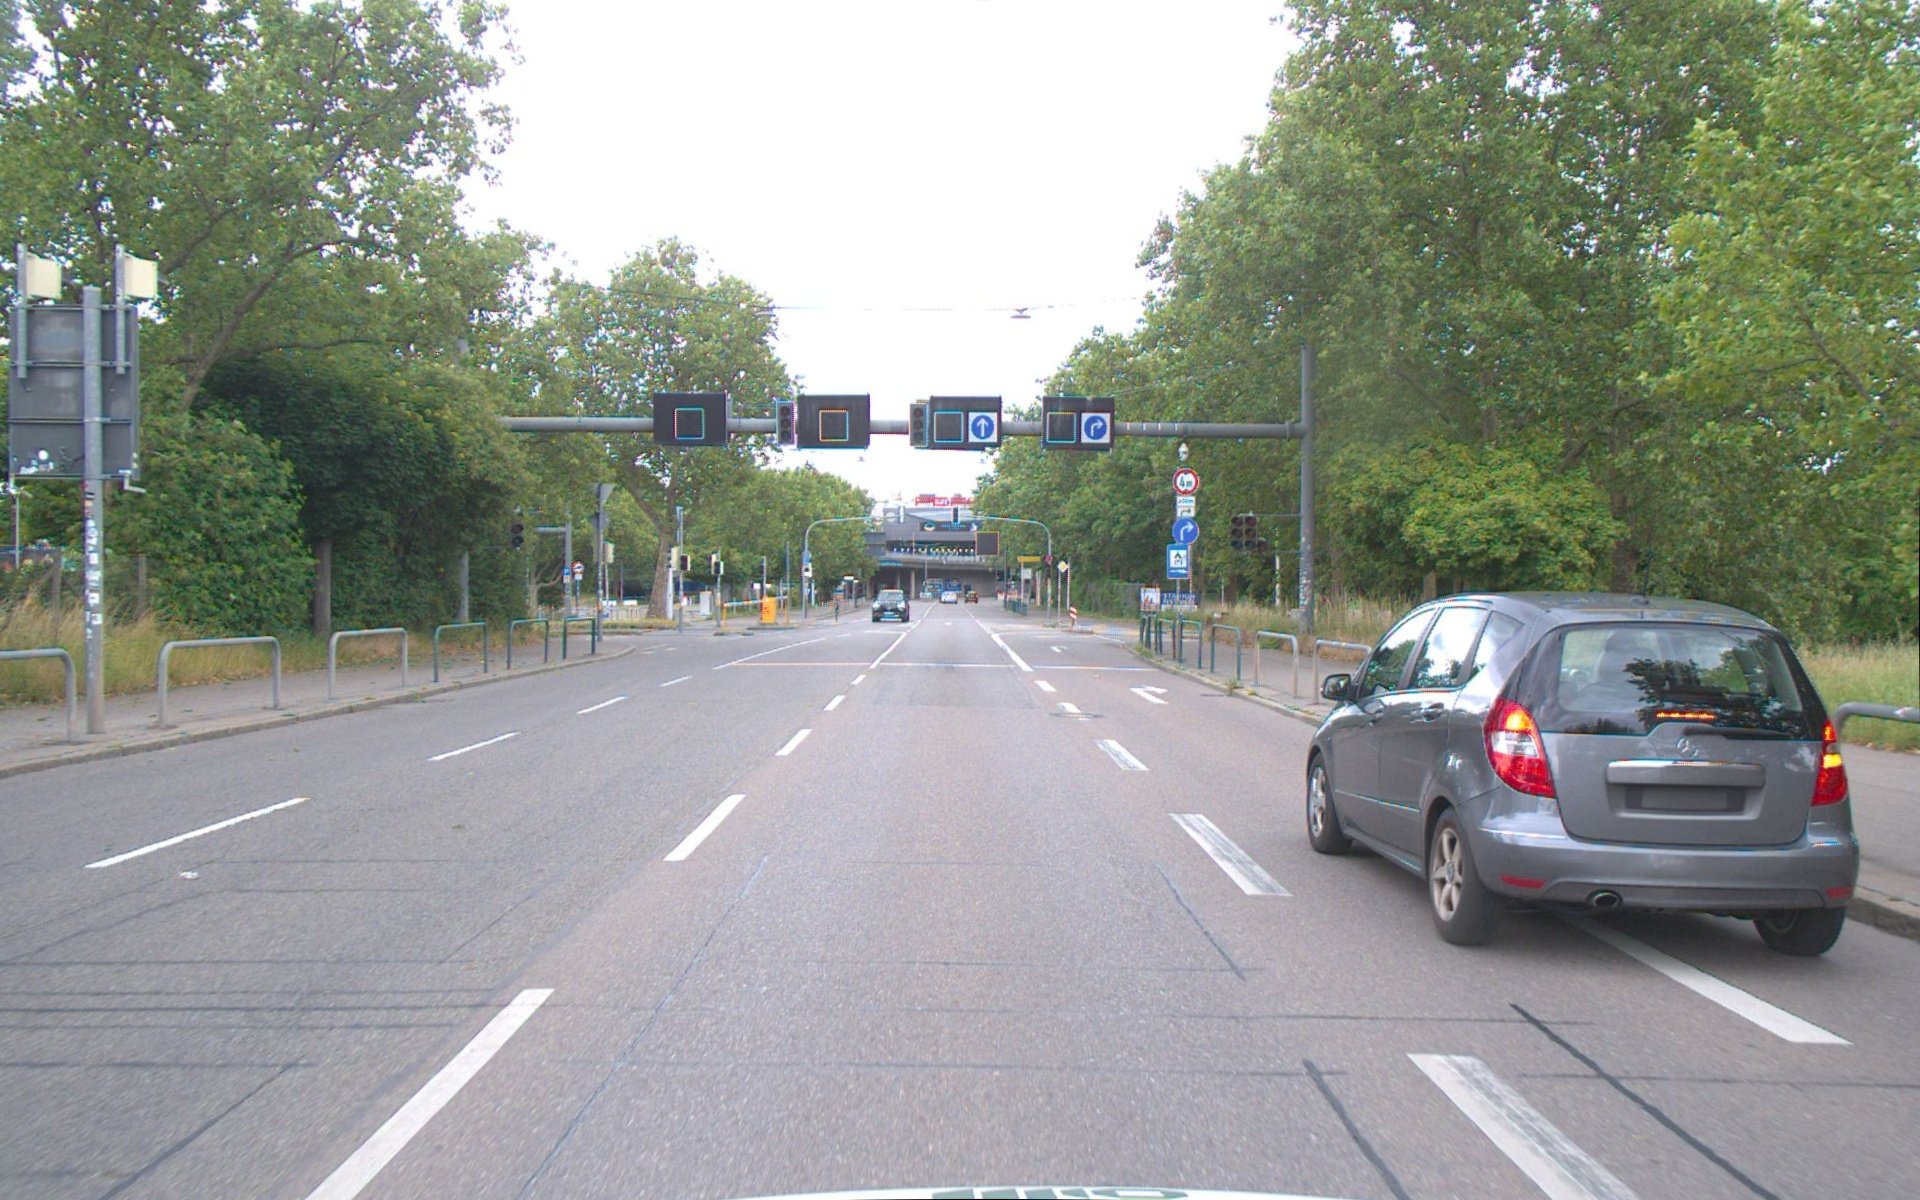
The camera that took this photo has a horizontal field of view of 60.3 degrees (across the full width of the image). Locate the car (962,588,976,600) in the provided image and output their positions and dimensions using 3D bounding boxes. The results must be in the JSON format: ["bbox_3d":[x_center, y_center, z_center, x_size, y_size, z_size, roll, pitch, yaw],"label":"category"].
[{"bbox_3d":[1.351,-0.872,242.244,1.966,1.728,4.069,1,0,1],"label":"car"}]

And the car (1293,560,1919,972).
[{"bbox_3d":[3.069,0.654,8.716,1.789,1.644,4.034,1,1,0],"label":"car"}]

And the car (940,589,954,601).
[{"bbox_3d":[-1.678,-0.620,218.289,1.742,1.486,3.822,2,0,1],"label":"car"}]

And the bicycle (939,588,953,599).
[{"bbox_3d":[-1.915,-0.917,227.707,1.953,1.534,3.999,1,0,-1],"label":"bicycle"}]

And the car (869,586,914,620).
[{"bbox_3d":[-3.623,0.166,88.270,1.952,1.689,4.518,-1,0,3],"label":"car"}]
